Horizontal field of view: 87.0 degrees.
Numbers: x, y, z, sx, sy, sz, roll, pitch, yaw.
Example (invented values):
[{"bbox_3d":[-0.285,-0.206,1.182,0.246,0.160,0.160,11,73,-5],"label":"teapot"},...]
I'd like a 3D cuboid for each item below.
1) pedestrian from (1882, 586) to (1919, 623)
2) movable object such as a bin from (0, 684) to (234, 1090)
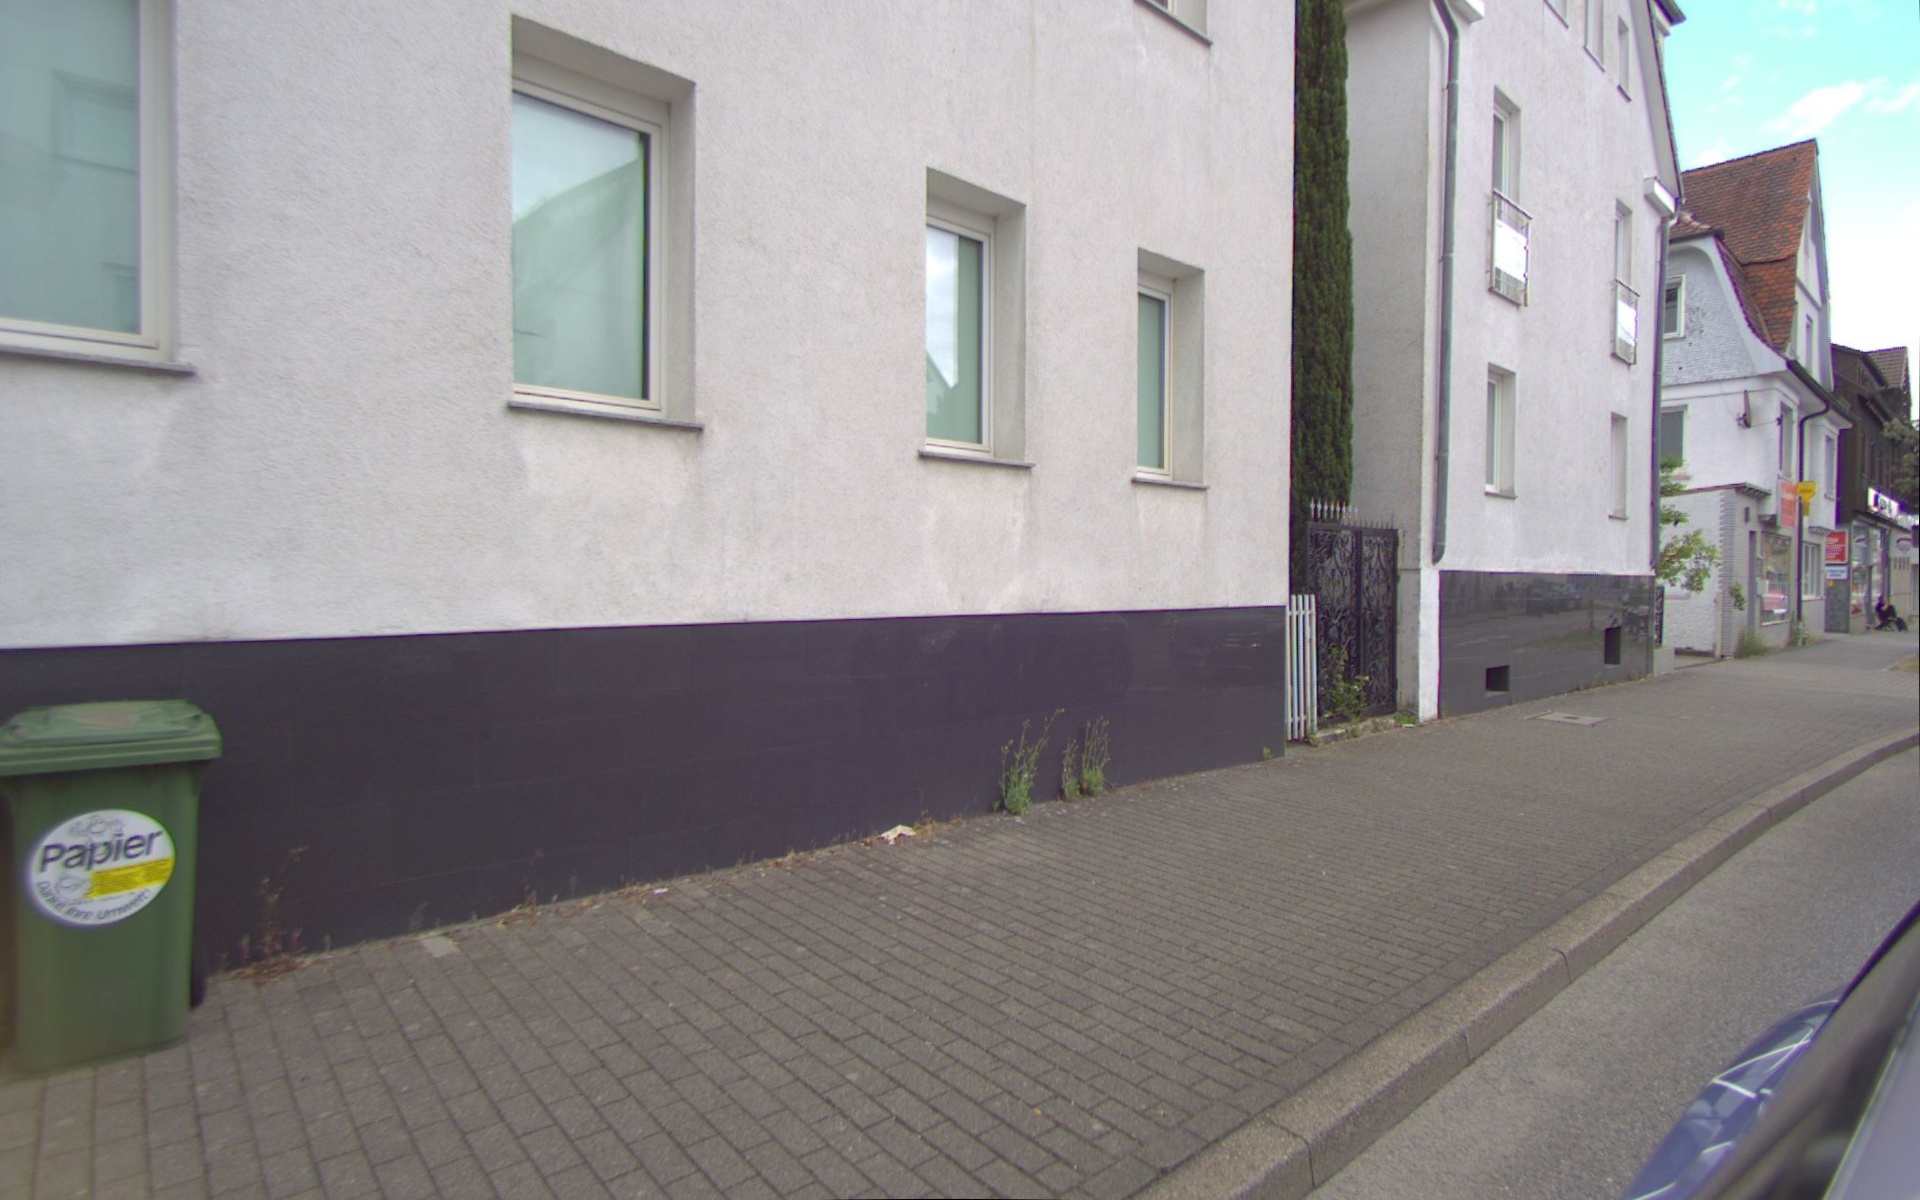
[{"bbox_3d":[34.386,0.152,36.866,0.653,1.295,0.985,0,1,-29],"label":"pedestrian"},{"bbox_3d":[-2.382,0.738,2.845,0.510,0.914,0.565,-1,2,-41],"label":"movable object such as a bin"}]
